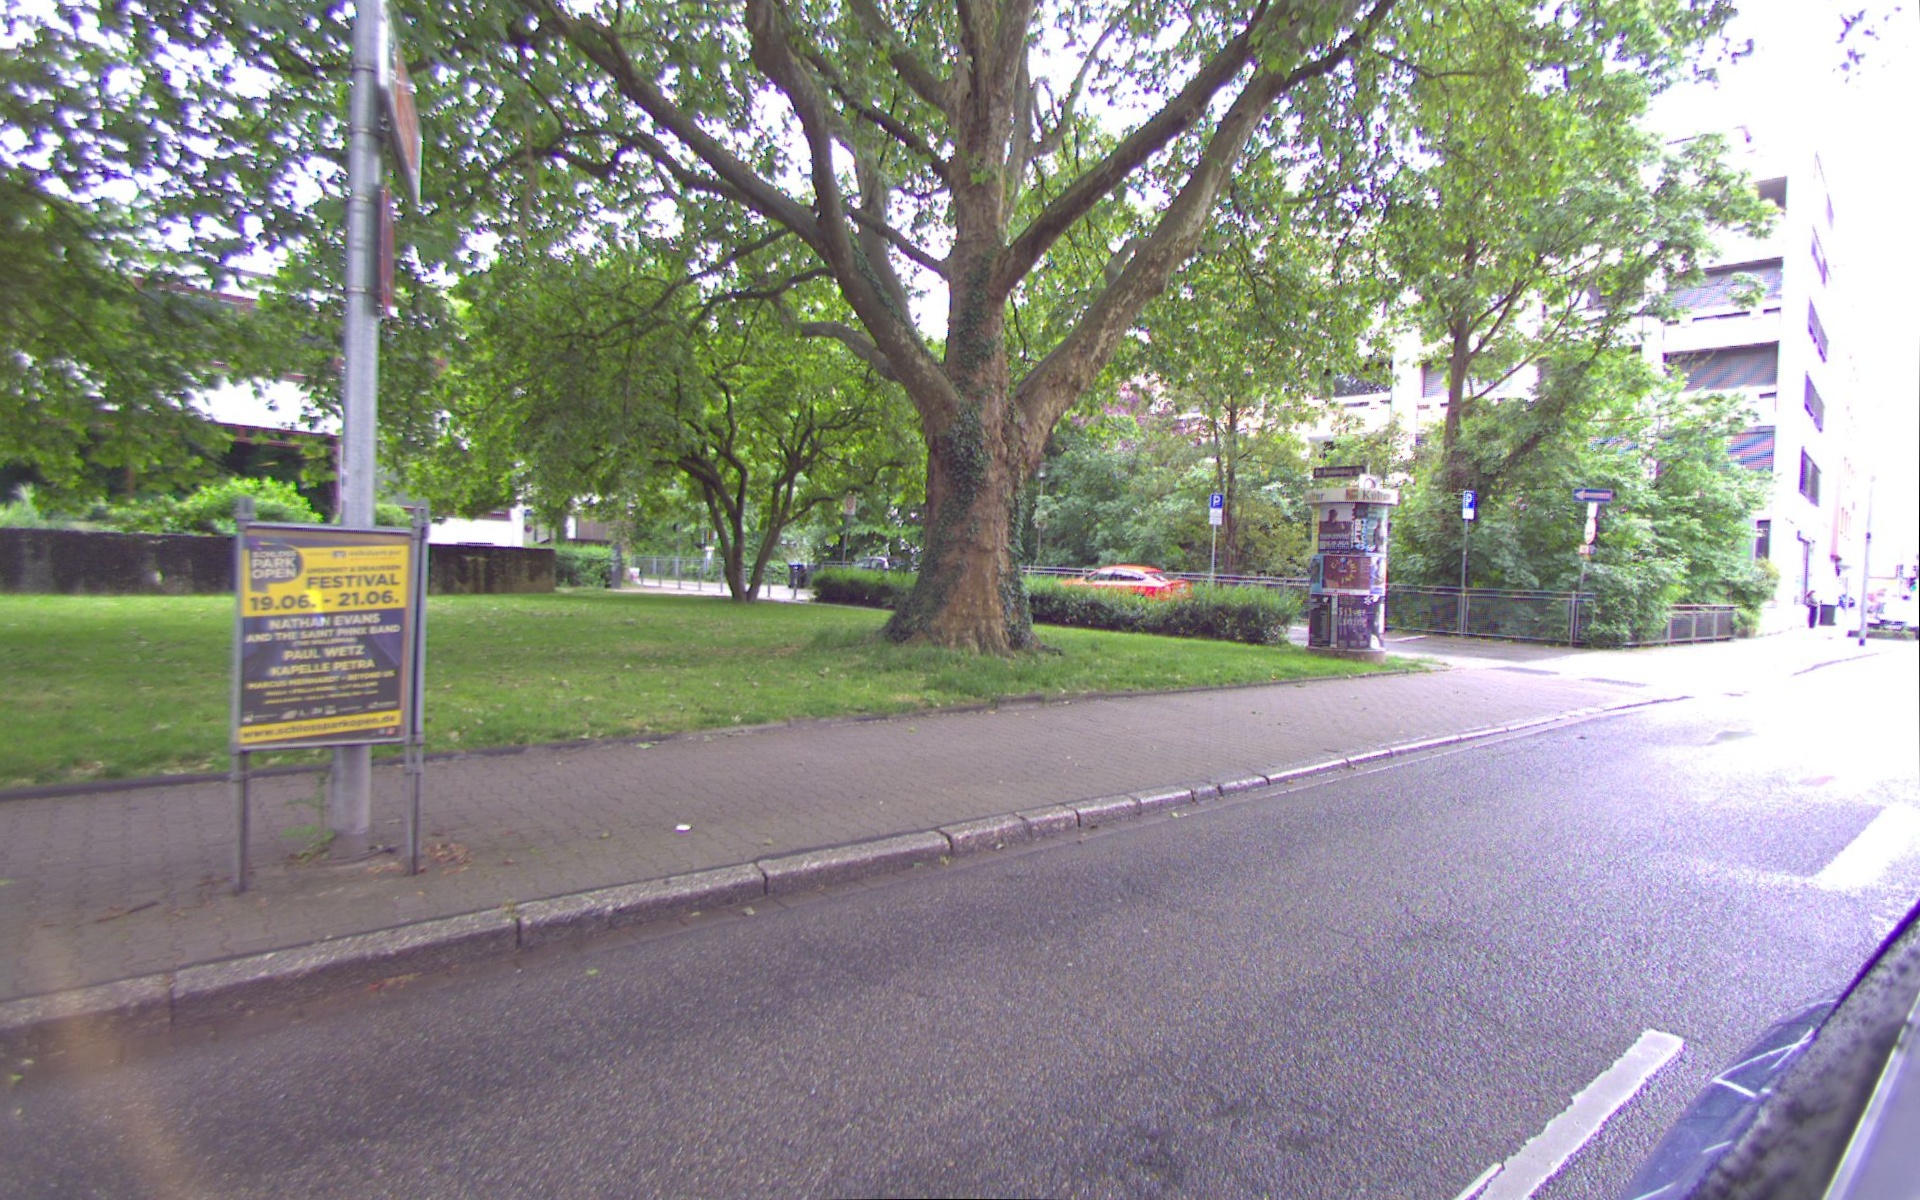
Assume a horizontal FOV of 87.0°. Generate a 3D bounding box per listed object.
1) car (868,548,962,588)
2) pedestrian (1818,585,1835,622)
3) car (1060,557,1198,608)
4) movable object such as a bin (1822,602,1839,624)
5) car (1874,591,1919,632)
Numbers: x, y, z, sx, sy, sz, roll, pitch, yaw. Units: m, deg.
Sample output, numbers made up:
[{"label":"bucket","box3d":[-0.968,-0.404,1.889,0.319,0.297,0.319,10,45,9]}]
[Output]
[{"label":"car","box3d":[-1.667,-1.179,36.688,3.460,1.294,1.426,5,4,45]},{"label":"pedestrian","box3d":[36.418,0.132,42.526,0.473,1.549,0.480,0,0,-41]},{"label":"car","box3d":[4.869,-0.541,29.520,1.551,1.294,3.784,-1,4,-44]},{"label":"movable object such as a bin","box3d":[41.910,0.622,48.713,0.287,1.054,0.556,0,3,-41]},{"label":"car","box3d":[37.404,0.457,39.739,3.617,1.449,1.681,0,6,-41]}]
